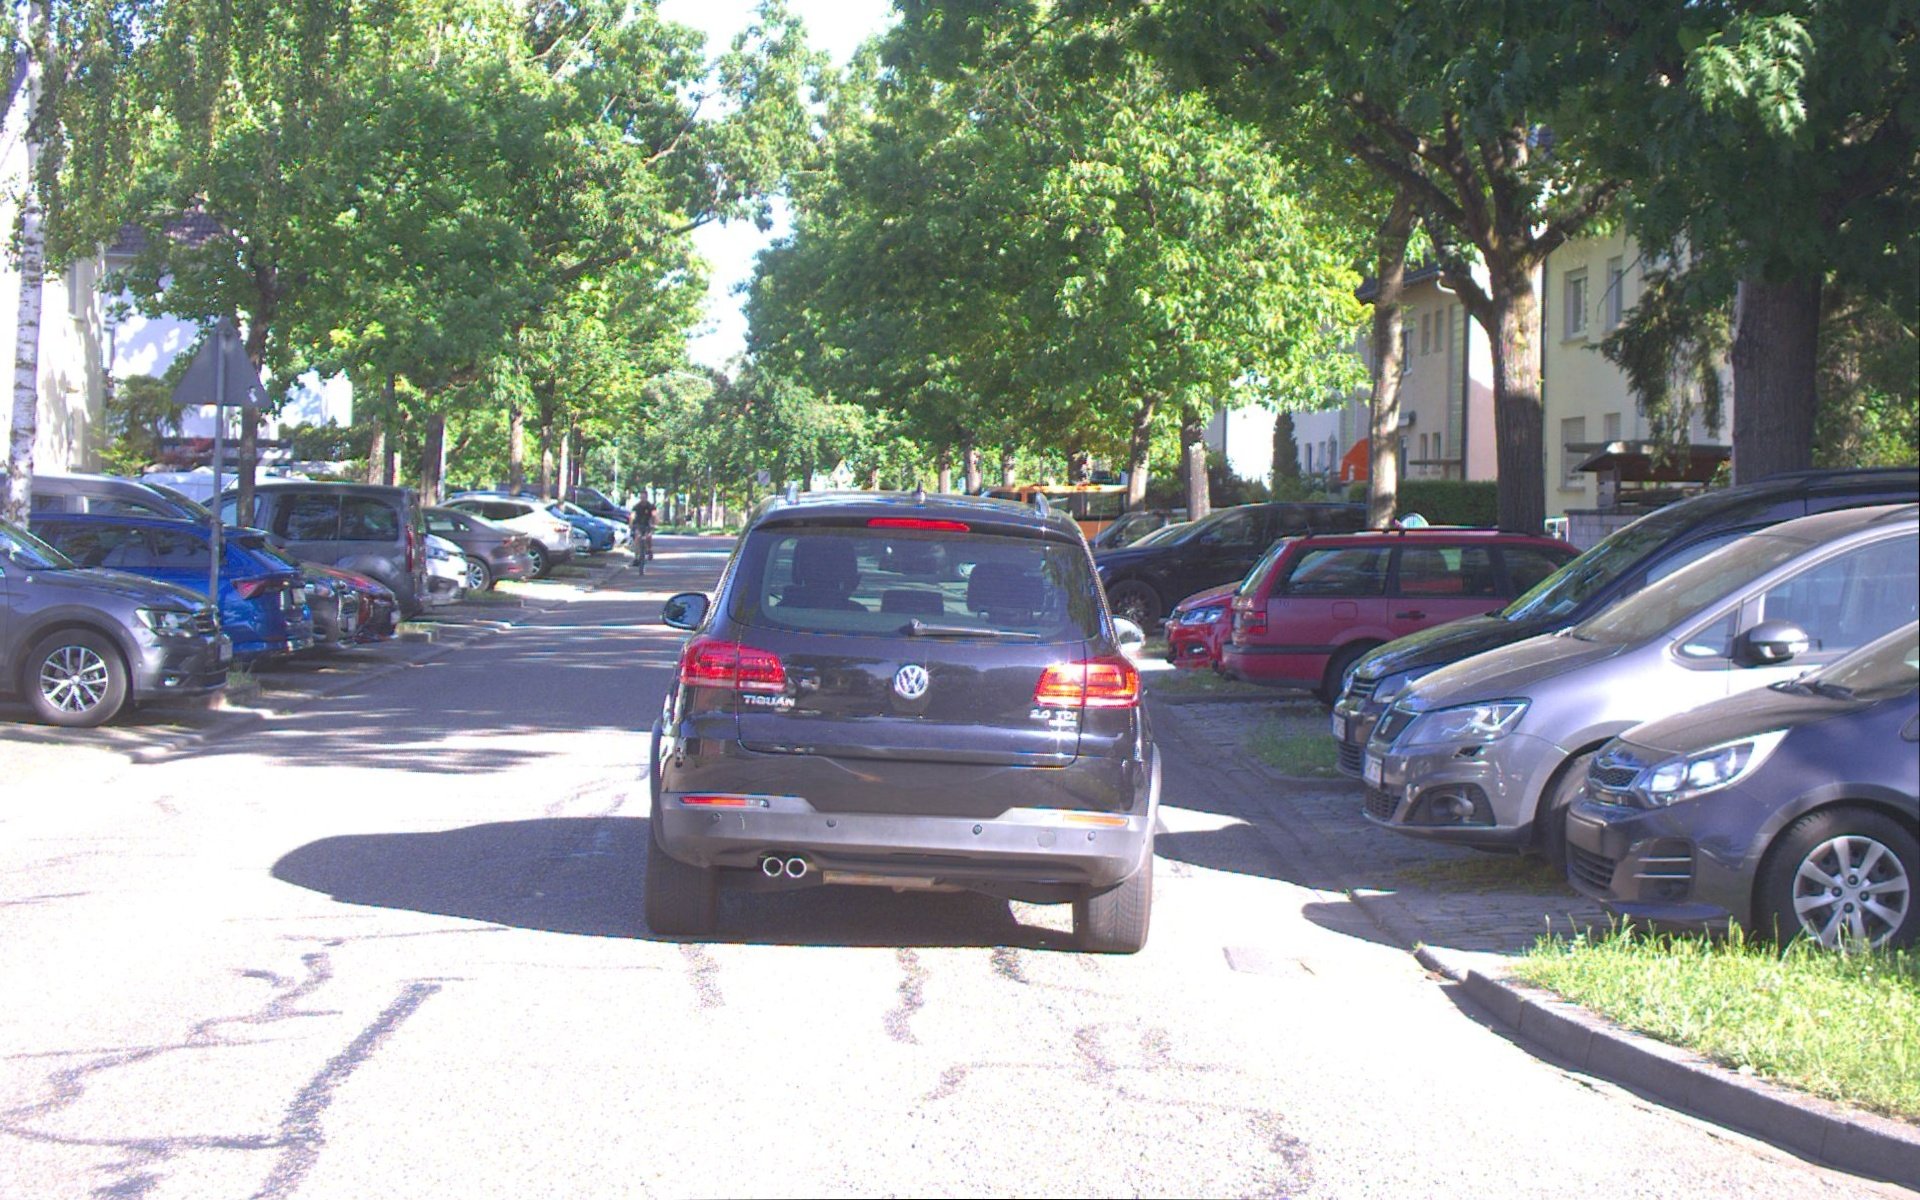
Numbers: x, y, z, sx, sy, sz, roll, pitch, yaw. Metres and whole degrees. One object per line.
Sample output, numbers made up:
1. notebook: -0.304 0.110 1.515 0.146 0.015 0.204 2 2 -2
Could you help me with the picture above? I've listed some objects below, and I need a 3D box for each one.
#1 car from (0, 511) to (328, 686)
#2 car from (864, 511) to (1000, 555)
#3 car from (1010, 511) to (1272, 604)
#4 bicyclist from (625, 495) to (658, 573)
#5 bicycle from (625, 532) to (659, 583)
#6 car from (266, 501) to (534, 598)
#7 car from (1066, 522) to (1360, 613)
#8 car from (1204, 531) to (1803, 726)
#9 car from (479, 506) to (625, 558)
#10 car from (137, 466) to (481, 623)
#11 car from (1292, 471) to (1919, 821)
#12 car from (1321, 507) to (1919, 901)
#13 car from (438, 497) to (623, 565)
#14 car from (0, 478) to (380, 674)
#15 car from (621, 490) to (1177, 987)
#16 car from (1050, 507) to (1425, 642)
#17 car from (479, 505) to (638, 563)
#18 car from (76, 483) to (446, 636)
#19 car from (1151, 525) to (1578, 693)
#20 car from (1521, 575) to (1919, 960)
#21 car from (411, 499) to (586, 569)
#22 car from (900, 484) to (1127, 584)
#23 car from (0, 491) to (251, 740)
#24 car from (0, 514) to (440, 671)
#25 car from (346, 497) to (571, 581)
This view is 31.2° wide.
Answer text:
1. car: -7.764 -0.048 29.690 4.271 1.419 1.724 1 1 0
2. car: -0.937 -2.219 113.446 4.345 1.358 1.874 1 1 -5
3. car: 3.100 -0.753 59.535 4.337 1.555 1.868 0 1 -4
4. bicyclist: -6.904 -1.426 74.560 0.596 1.668 0.975 -2 1 -2
5. bicycle: -6.893 -0.927 74.568 0.596 1.055 1.986 -2 1 -2
6. car: -9.292 -0.850 57.237 4.210 1.466 1.691 2 1 -3
7. car: 3.944 -0.525 54.121 4.427 1.327 1.691 1 1 -2
8. car: 4.319 0.208 27.796 4.502 1.441 1.838 1 1 -1
9. car: -12.225 -2.052 103.192 4.275 1.473 1.769 1 1 -4
10. car: -8.462 -0.736 44.987 4.235 1.937 2.000 1 1 -5
11. car: 4.069 0.232 18.845 4.211 1.775 1.789 1 1 -4
12. car: 4.047 0.419 15.731 4.502 1.673 1.879 0 1 -4
13. car: -10.882 -1.749 87.275 4.523 1.625 1.938 1 1 -3
14. car: -7.985 -0.256 32.684 4.673 1.762 1.795 1 1 -3
15. car: -0.264 0.430 13.650 1.838 1.631 3.958 2 1 -2
16. car: 3.508 -0.342 44.030 4.573 1.641 1.838 -1 1 -3
17. car: -10.927 -1.804 93.783 4.182 1.487 1.647 1 1 -3
18. car: -8.511 -0.502 42.151 4.237 1.764 1.968 1 1 -5
19. car: 3.779 0.069 32.568 3.777 1.479 1.756 1 1 -1
20. car: 4.270 0.582 13.116 3.944 1.357 1.684 0 1 -2
21. car: -11.019 -1.585 82.256 3.986 1.590 1.858 1 1 -3
22. car: 1.149 -1.455 75.522 4.818 2.076 2.086 1 1 -3
23. car: -7.445 0.062 24.965 4.210 1.718 1.761 1 1 0
24. car: -7.622 -0.090 35.037 4.475 1.494 1.837 1 1 -5
25. car: -9.835 -1.206 67.681 4.187 1.561 1.792 1 1 -2
